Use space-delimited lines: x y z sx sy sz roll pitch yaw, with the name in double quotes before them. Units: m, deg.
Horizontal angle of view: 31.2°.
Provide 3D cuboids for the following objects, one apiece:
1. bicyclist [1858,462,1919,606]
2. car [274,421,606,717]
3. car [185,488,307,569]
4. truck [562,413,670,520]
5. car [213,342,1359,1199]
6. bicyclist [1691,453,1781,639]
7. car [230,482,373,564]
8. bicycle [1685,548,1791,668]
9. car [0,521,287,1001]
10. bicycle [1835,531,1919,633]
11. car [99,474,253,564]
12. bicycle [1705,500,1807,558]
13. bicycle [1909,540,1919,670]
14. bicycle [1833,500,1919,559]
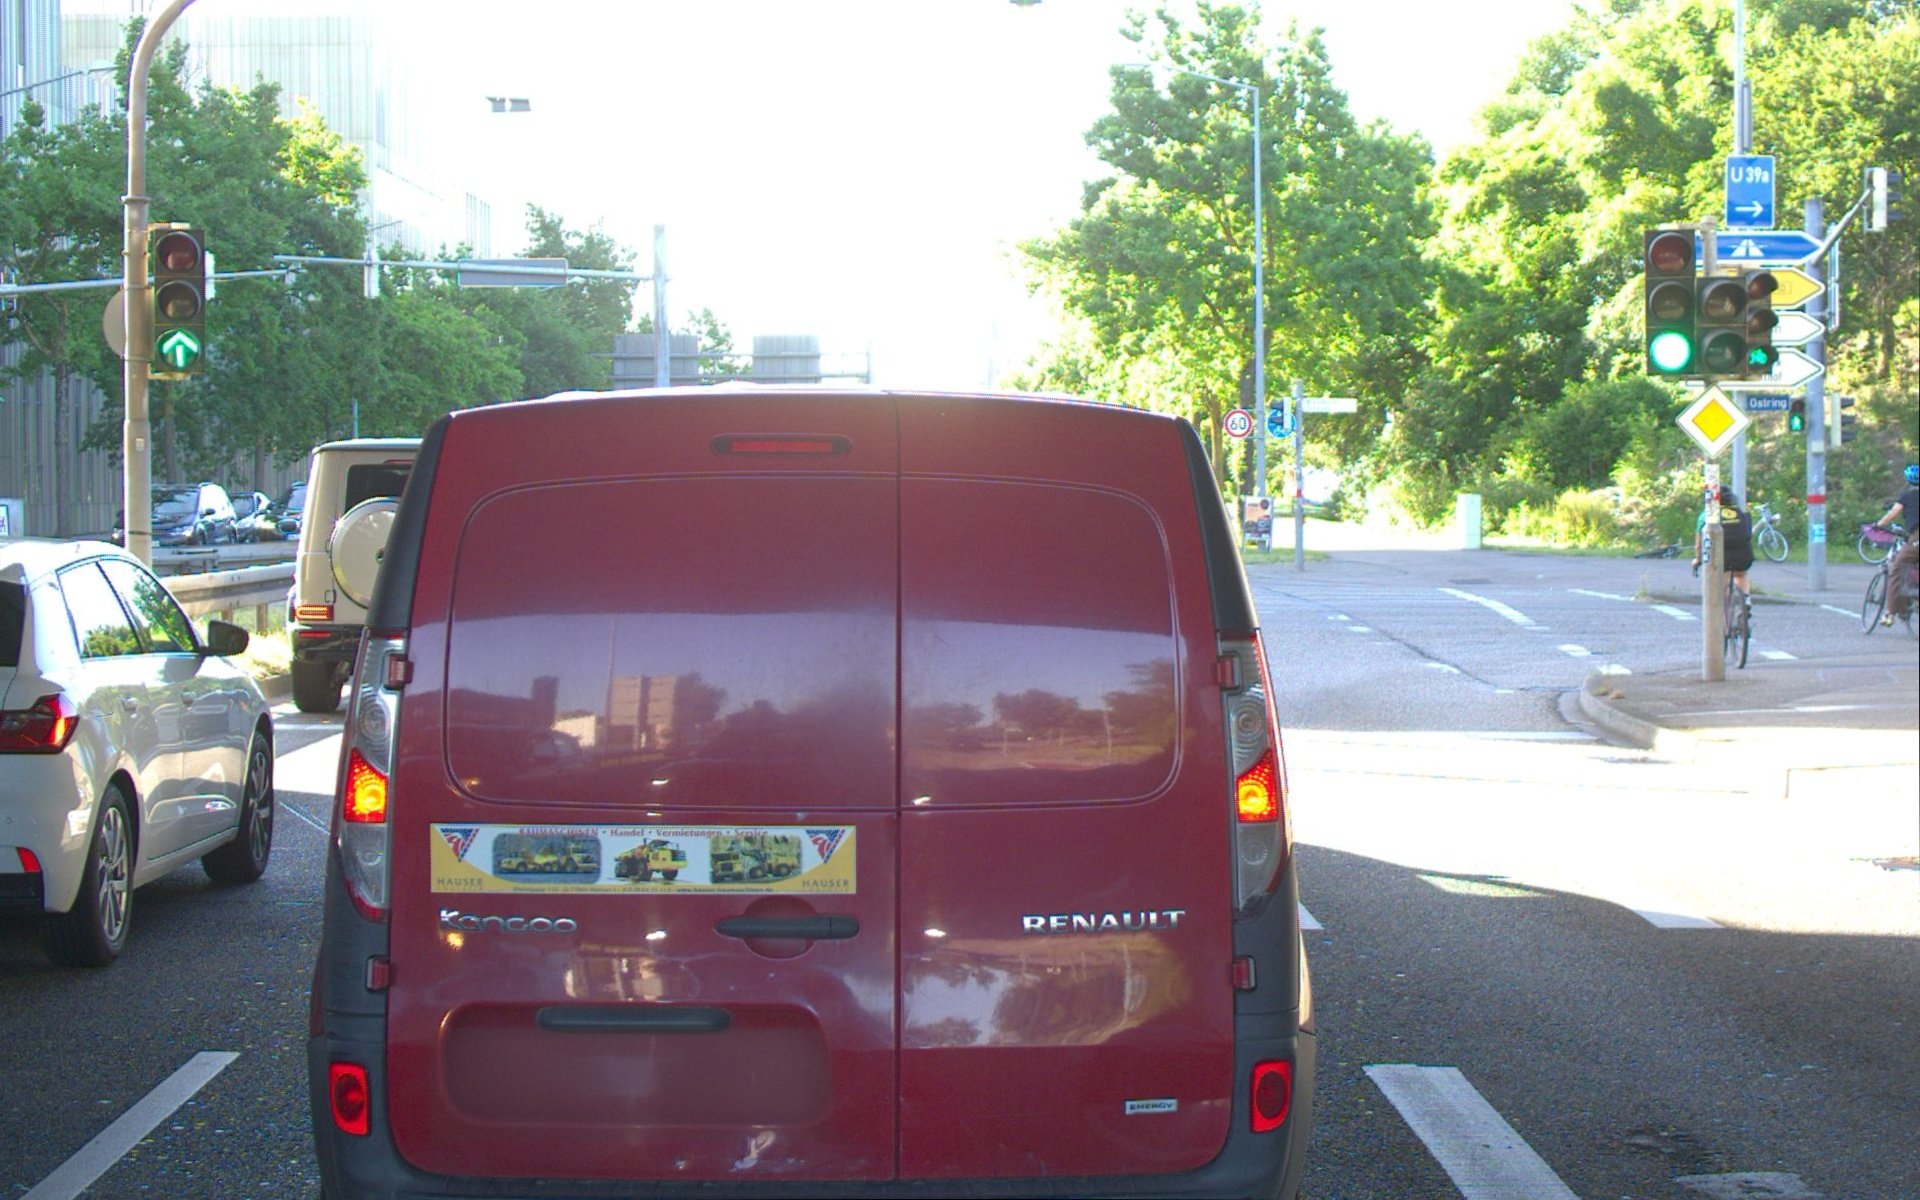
"bicyclist" 9.723 -0.675 35.481 0.665 1.469 0.751 1 0 -3
"car" -3.758 -0.230 25.594 1.801 1.982 4.589 1 1 -1
"car" -16.370 -1.664 79.036 1.824 1.731 4.530 -2 2 0
"truck" -10.262 -3.965 103.038 2.409 3.016 6.657 -2 2 0
"car" -0.302 0.477 7.470 1.805 1.788 4.000 1 1 -1
"bicyclist" 6.862 -0.476 30.423 0.592 1.608 0.942 1 0 2
"car" -13.902 -1.650 72.819 1.825 1.620 4.529 -2 2 4
"bicycle" 6.870 0.061 30.429 0.592 1.020 1.750 1 1 2
"car" -3.661 0.454 12.425 1.813 1.433 3.731 0 2 -2
"bicycle" 9.736 -0.191 35.663 0.671 1.020 2.056 1 1 -3
"car" -16.286 -1.700 71.658 1.825 1.731 4.629 -2 2 4
"bicycle" 14.429 -1.286 62.354 1.745 1.020 0.593 1 0 9
"bicycle" 7.780 0.045 26.446 0.592 1.020 1.750 1 1 5
"bicycle" 16.429 -1.245 61.004 1.745 1.020 0.593 1 0 9
